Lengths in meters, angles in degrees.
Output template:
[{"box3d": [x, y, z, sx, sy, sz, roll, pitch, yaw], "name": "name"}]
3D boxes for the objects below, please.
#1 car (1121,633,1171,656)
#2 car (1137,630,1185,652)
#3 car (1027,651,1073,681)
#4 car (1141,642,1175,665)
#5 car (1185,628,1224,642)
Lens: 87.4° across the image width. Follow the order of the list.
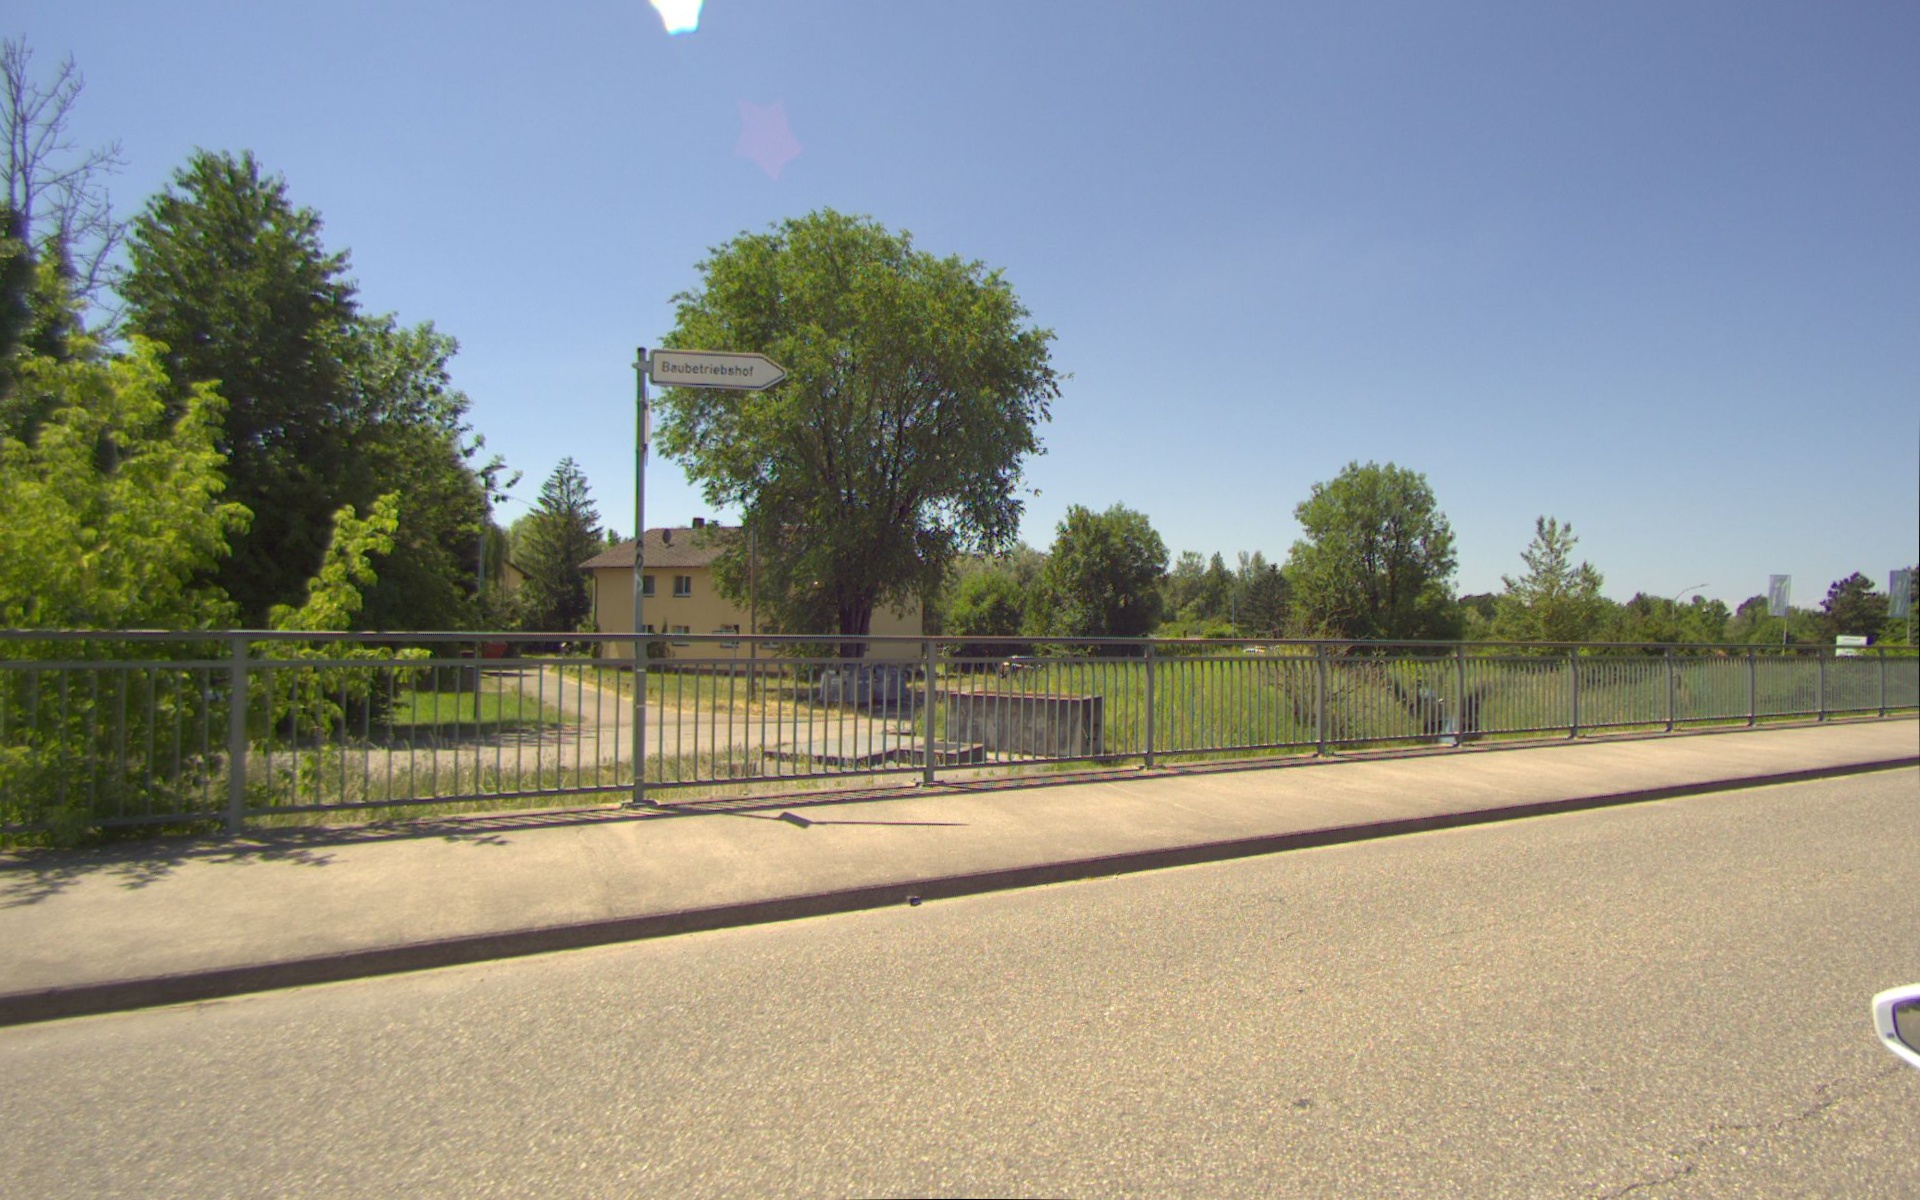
[{"box3d": [16.134, 3.835, 87.129, 3.923, 2.026, 2.267, -1, -2, 23], "name": "car"}, {"box3d": [18.399, 3.739, 92.107, 3.923, 2.026, 2.267, -1, -2, 23], "name": "car"}, {"box3d": [5.812, 4.192, 64.253, 1.840, 1.774, 3.999, -1, -3, 23], "name": "car"}, {"box3d": [14.269, 3.832, 72.278, 1.960, 1.617, 4.001, 0, -2, 19], "name": "car"}, {"box3d": [27.113, 3.848, 111.174, 3.923, 1.591, 1.999, -1, -2, 24], "name": "car"}]
